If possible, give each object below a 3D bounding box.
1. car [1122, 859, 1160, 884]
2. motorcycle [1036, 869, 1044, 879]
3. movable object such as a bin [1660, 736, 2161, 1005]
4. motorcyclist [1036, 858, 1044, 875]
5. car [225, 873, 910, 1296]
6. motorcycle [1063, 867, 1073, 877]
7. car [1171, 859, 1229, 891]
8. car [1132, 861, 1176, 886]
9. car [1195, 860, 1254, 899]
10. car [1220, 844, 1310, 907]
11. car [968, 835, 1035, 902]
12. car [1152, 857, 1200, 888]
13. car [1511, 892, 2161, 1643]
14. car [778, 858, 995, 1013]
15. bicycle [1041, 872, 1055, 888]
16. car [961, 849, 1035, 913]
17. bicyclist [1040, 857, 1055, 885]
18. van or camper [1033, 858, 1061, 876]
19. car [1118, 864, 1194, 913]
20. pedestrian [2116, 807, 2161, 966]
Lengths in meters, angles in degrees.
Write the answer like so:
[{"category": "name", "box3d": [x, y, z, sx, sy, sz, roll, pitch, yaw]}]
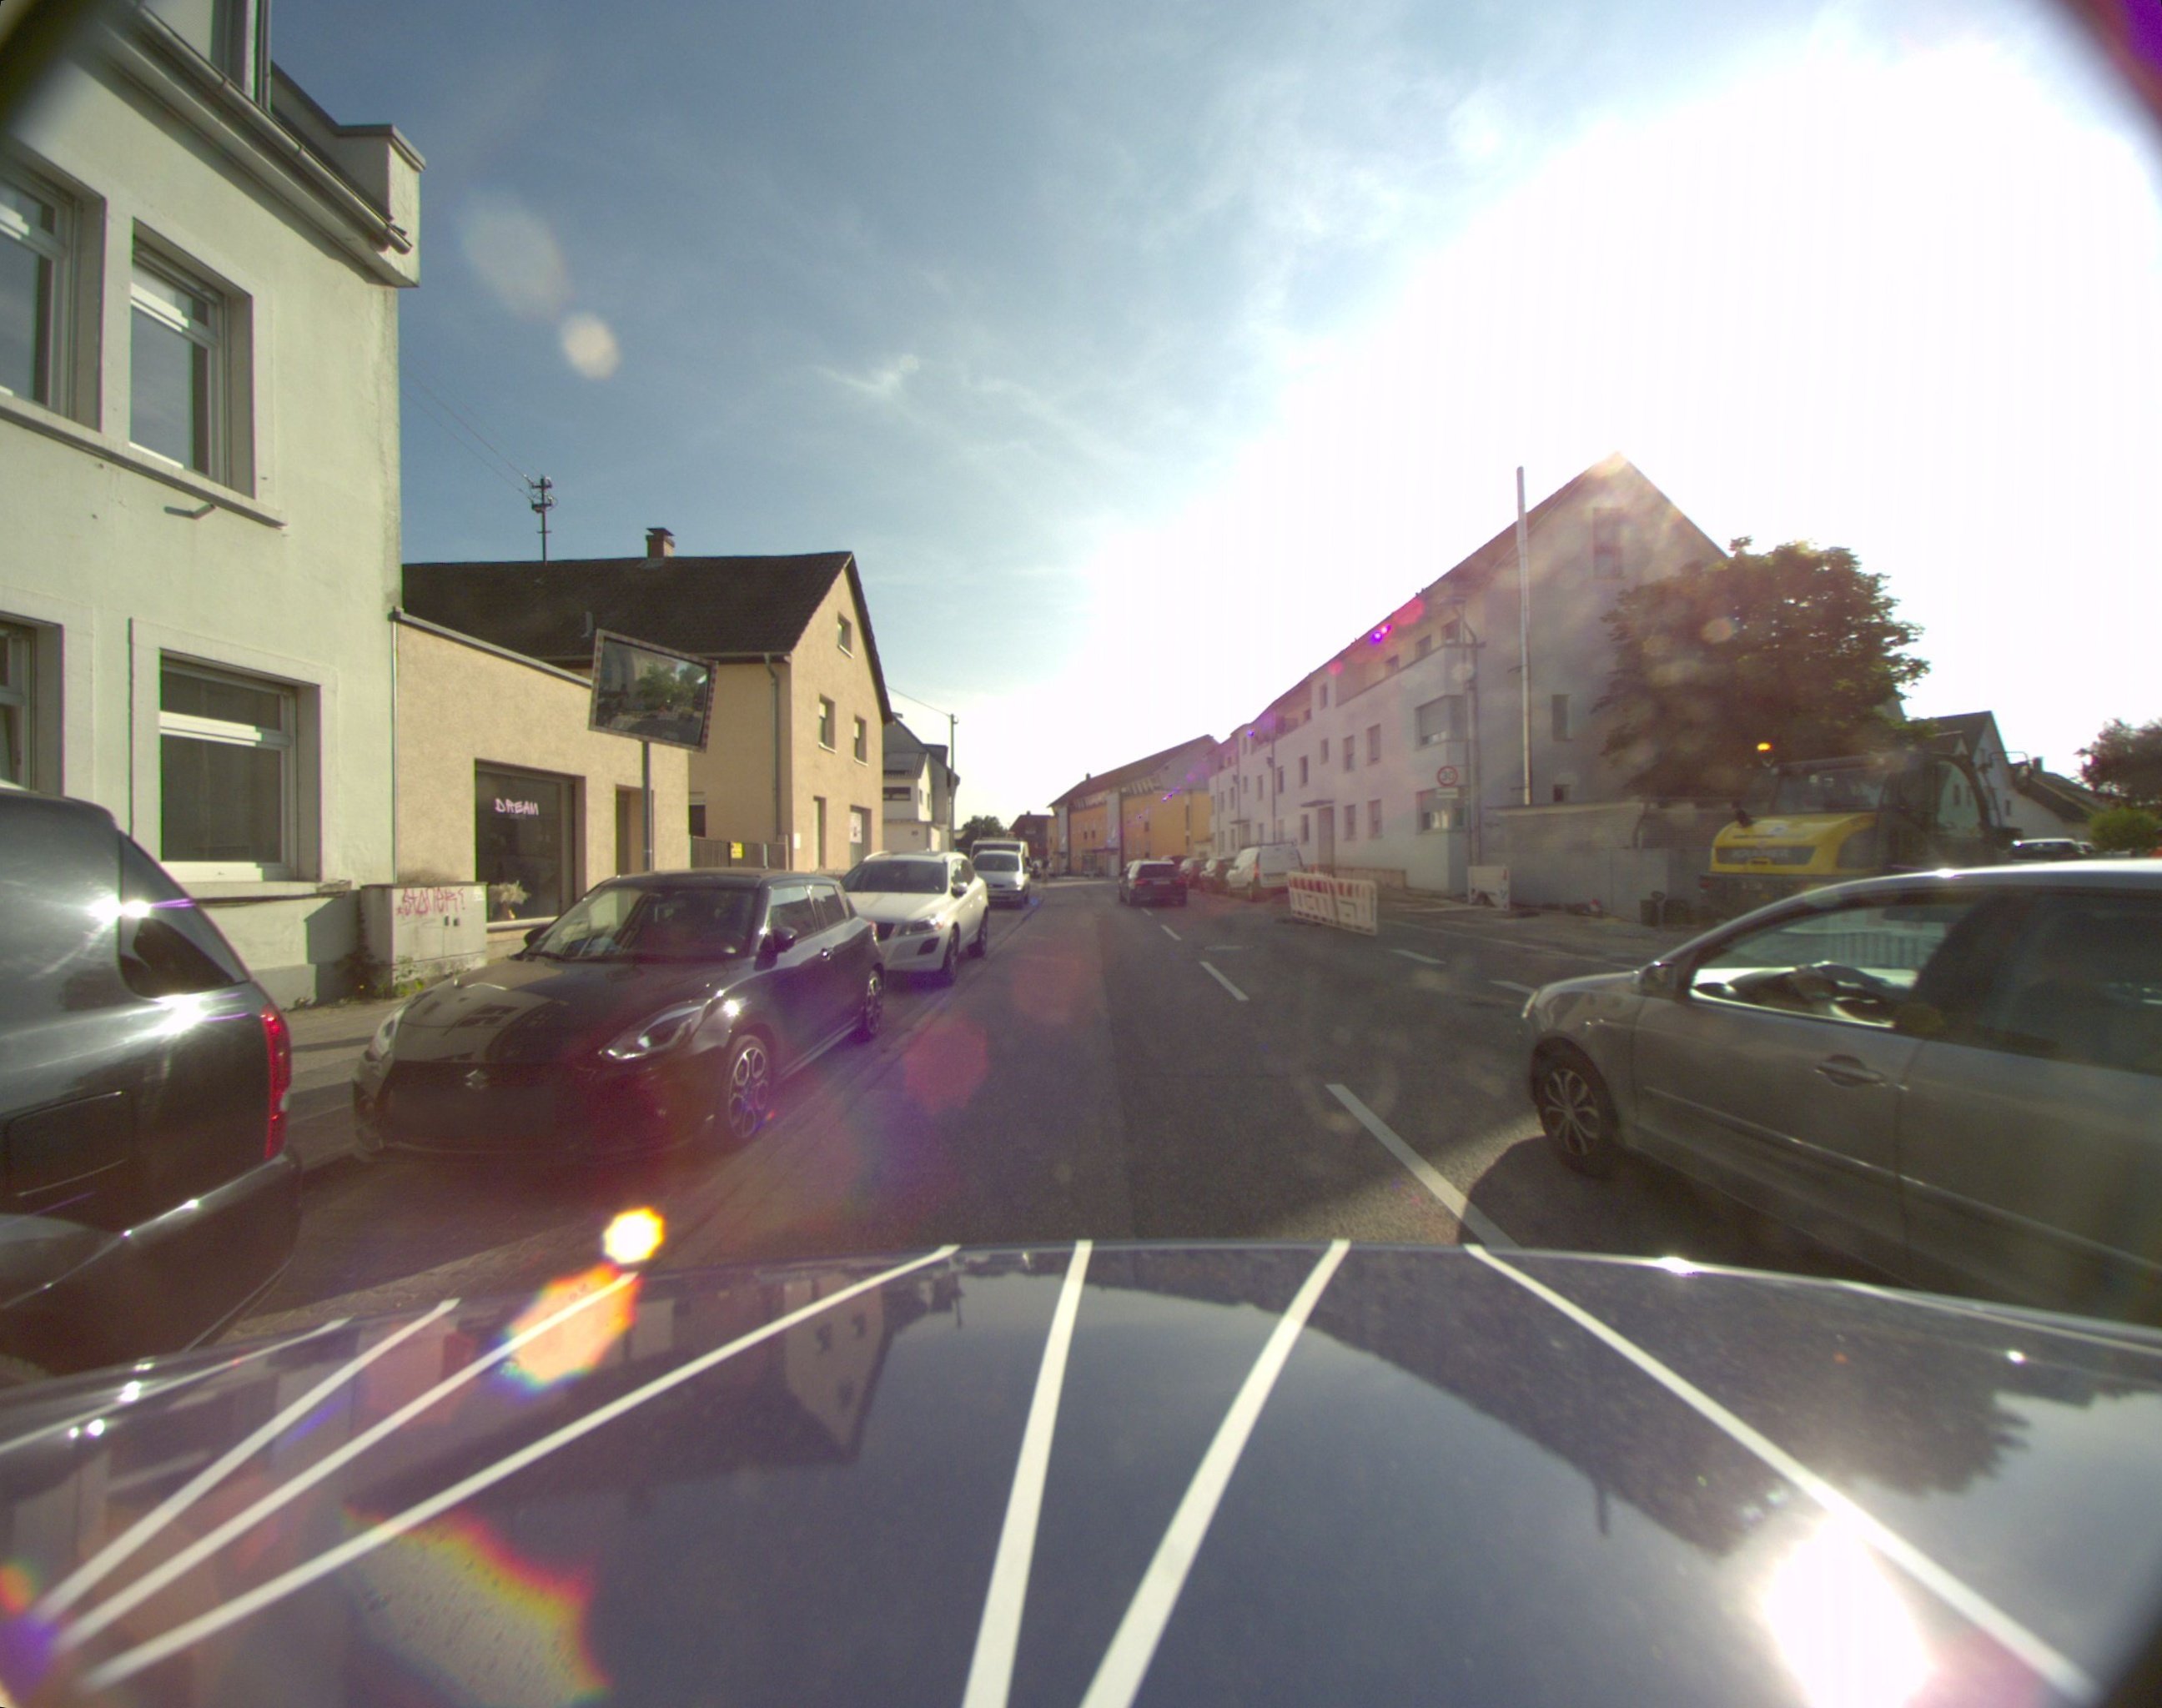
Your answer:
[{"category": "car", "box3d": [4.157, 1.211, 53.173, 1.781, 1.612, 4.175, -3, -1, -8]}, {"category": "motorcycle", "box3d": [-3.999, 1.927, 74.050, 0.770, 0.979, 2.198, -1, 0, -2]}, {"category": "movable object such as a bin", "box3d": [10.730, 0.138, 9.698, 5.516, 2.883, 2.110, -1, -1, -11]}, {"category": "motorcyclist", "box3d": [-4.007, 1.212, 74.080, 0.771, 1.642, 0.843, -1, 0, -3]}, {"category": "car", "box3d": [-2.554, 0.969, 5.305, 1.593, 1.519, 4.614, 1, 0, 1]}, {"category": "motorcycle", "box3d": [-1.590, 2.146, 92.590, 0.584, 1.175, 1.875, -1, -1, -20]}, {"category": "car", "box3d": [5.701, 1.010, 36.935, 1.732, 1.469, 4.262, 0, -1, -6]}, {"category": "car", "box3d": [4.546, 1.200, 47.940, 1.733, 1.469, 4.500, -2, 0, -7]}, {"category": "car", "box3d": [5.766, 0.984, 30.792, 1.497, 1.456, 3.513, -2, 0, -4]}, {"category": "car", "box3d": [6.228, 0.718, 26.206, 1.732, 1.949, 4.437, -1, -1, -4]}, {"category": "car", "box3d": [-2.984, 0.552, 29.514, 2.180, 2.313, 4.997, 1, -1, -2]}, {"category": "car", "box3d": [5.285, 0.980, 42.773, 1.732, 1.612, 4.261, -1, 0, -6]}, {"category": "car", "box3d": [3.040, 0.908, 2.095, 1.622, 1.446, 3.685, 0, 0, 0]}, {"category": "car", "box3d": [-2.410, 0.917, 10.639, 1.816, 1.673, 4.477, 1, 0, 1]}, {"category": "bicycle", "box3d": [-1.994, 1.571, 46.199, 0.680, 0.849, 2.025, 0, 0, -7]}, {"category": "car", "box3d": [-2.466, 0.780, 23.641, 1.782, 1.730, 4.483, 2, 0, 0]}, {"category": "bicyclist", "box3d": [-2.029, 1.029, 46.343, 0.846, 1.679, 0.877, -1, 0, -7]}, {"category": "van or camper", "box3d": [-3.895, 1.409, 85.881, 2.001, 1.991, 4.914, 0, 0, -17]}, {"category": "car", "box3d": [2.301, 1.029, 24.425, 1.835, 1.411, 4.208, 0, 0, -3]}, {"category": "pedestrian", "box3d": [13.976, 0.401, 9.533, 0.766, 2.006, 0.894, -1, 0, 13]}]
